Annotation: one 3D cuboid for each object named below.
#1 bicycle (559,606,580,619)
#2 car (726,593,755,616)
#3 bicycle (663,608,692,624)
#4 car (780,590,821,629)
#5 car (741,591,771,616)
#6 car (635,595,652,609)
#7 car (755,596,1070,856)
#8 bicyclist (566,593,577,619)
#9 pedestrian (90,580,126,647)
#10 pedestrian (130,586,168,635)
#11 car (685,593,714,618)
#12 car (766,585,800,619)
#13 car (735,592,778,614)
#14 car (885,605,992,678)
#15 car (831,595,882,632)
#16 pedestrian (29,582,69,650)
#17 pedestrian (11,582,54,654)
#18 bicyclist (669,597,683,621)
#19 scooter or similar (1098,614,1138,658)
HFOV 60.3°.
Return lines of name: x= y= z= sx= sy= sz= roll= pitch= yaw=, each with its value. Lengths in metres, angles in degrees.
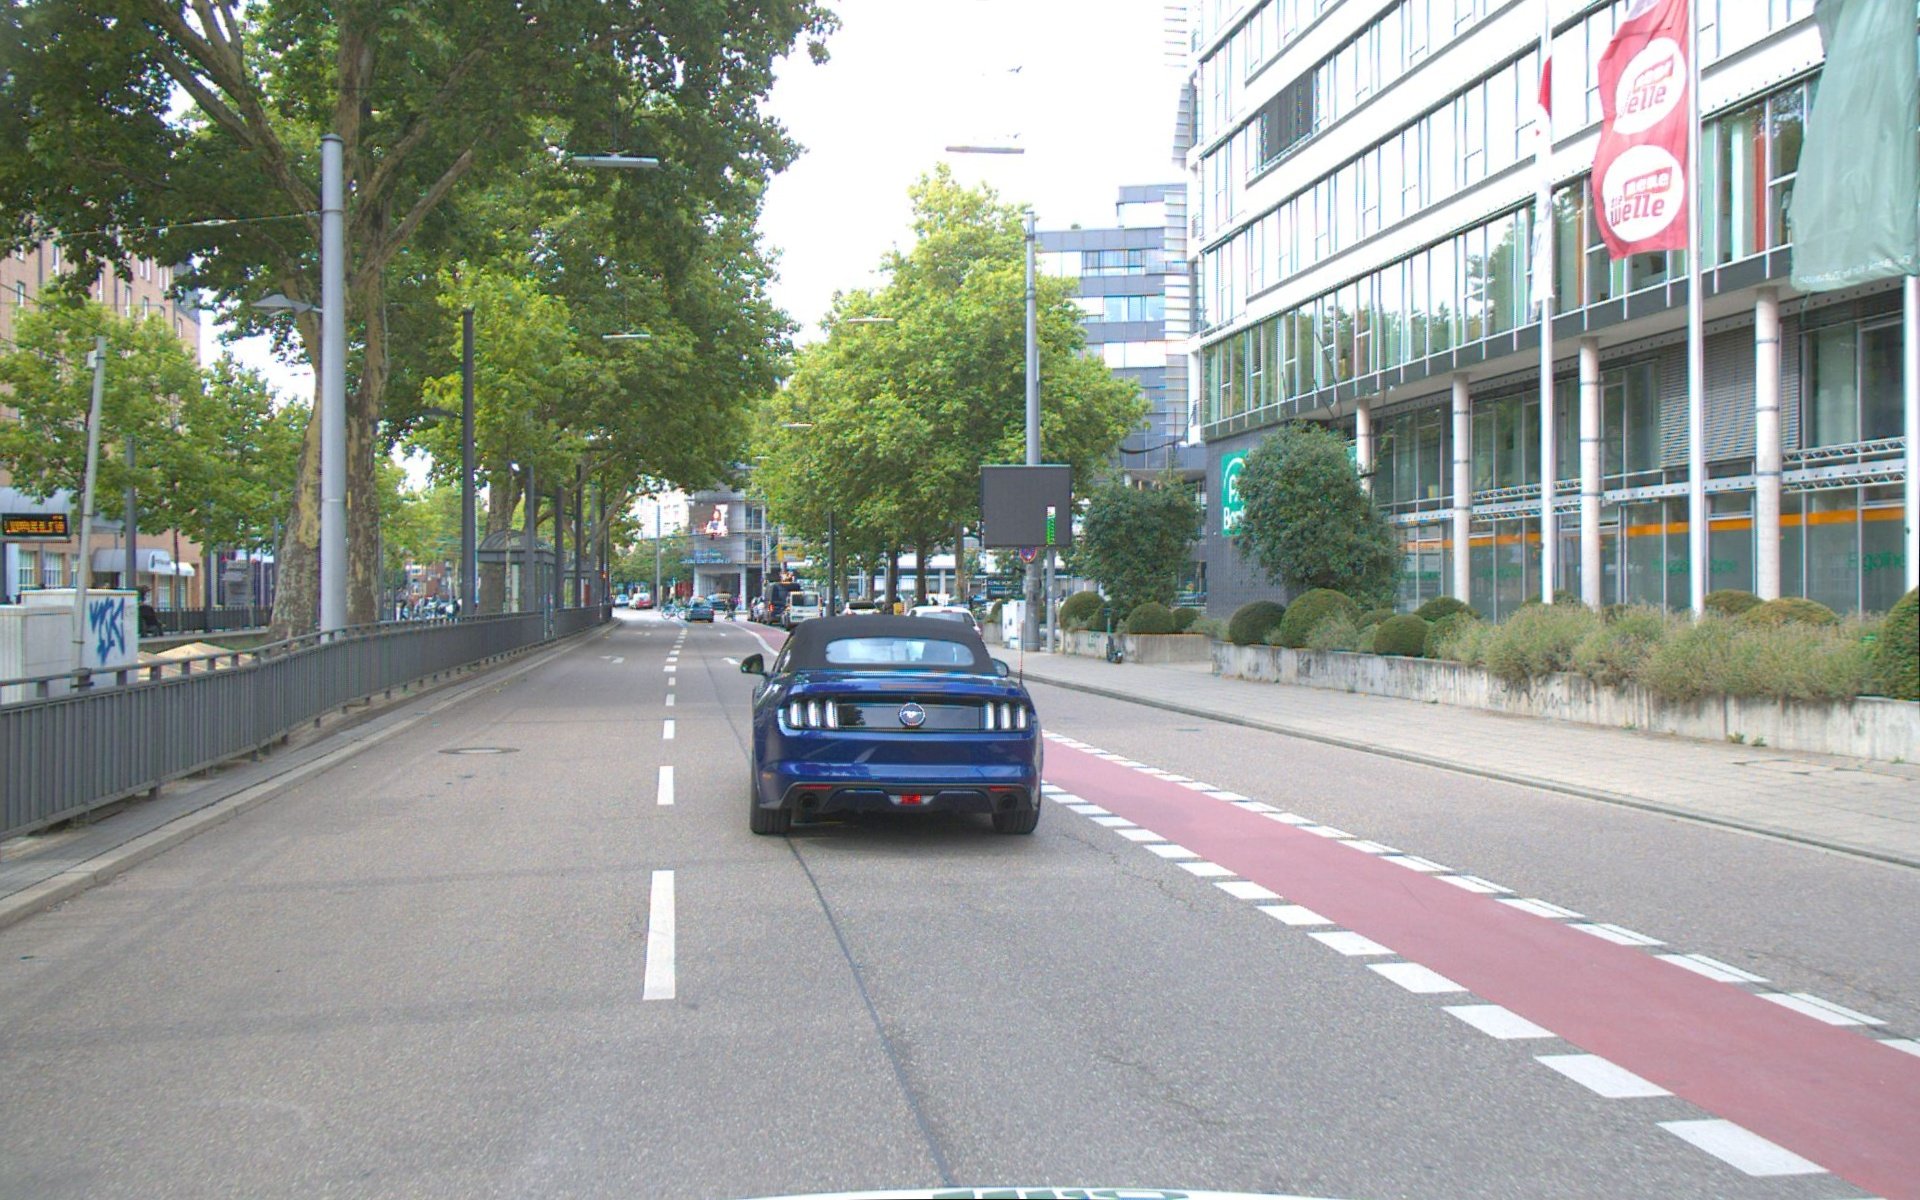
bicycle: x=-27.199 y=0.870 z=115.321 sx=1.381 sy=0.947 sz=0.511 roll=-1 pitch=0 yaw=-10
car: x=-15.020 y=0.296 z=113.056 sx=1.801 sy=1.547 sz=4.167 roll=-1 pitch=0 yaw=-9
bicycle: x=-20.087 y=1.122 z=117.510 sx=1.981 sy=1.105 sz=0.668 roll=-1 pitch=0 yaw=-10
car: x=-8.241 y=0.460 z=85.250 sx=1.855 sy=1.936 sz=4.121 roll=-1 pitch=0 yaw=-9
car: x=-13.208 y=0.213 z=106.853 sx=1.801 sy=1.547 sz=4.167 roll=-1 pitch=0 yaw=-9
car: x=-36.156 y=0.171 z=188.903 sx=1.801 sy=1.547 sz=4.167 roll=-1 pitch=0 yaw=-9
car: x=-0.525 y=0.723 z=11.823 sx=1.840 sy=1.428 sz=4.276 roll=-1 pitch=1 yaw=-7
bicyclist: x=-27.088 y=0.403 z=115.343 sx=0.659 sy=1.761 sz=0.511 roll=-1 pitch=0 yaw=-10
pedestrian: x=-26.118 y=0.404 z=50.716 sx=0.801 sy=2.028 sz=0.782 roll=-1 pitch=0 yaw=-13
pedestrian: x=-27.379 y=0.365 z=55.836 sx=0.977 sy=1.628 sz=0.848 roll=-1 pitch=0 yaw=-13
car: x=-16.756 y=0.333 z=106.563 sx=1.801 sy=1.574 sz=4.206 roll=-1 pitch=0 yaw=-9
car: x=-10.458 y=0.092 z=97.694 sx=1.801 sy=1.936 sz=4.167 roll=-1 pitch=0 yaw=-9
car: x=-19.250 y=0.248 z=156.339 sx=3.909 sy=2.049 sz=1.998 roll=-1 pitch=0 yaw=-6
car: x=-0.536 y=0.866 z=36.479 sx=1.801 sy=1.464 sz=4.179 roll=-1 pitch=0 yaw=-9
car: x=-4.764 y=0.585 z=75.922 sx=1.846 sy=1.609 sz=4.314 roll=0 pitch=1 yaw=-10
pedestrian: x=-26.058 y=0.459 z=47.298 sx=0.801 sy=1.920 sz=0.782 roll=-1 pitch=0 yaw=-14
pedestrian: x=-25.170 y=0.478 z=44.895 sx=0.801 sy=1.920 sz=0.782 roll=-1 pitch=0 yaw=-14
bicyclist: x=-20.156 y=0.633 z=117.500 sx=0.988 sy=1.689 sz=0.646 roll=-1 pitch=0 yaw=-10
scooter or similar: x=3.603 y=0.813 z=37.885 sx=0.576 sy=0.967 sz=1.858 roll=-1 pitch=0 yaw=-5
